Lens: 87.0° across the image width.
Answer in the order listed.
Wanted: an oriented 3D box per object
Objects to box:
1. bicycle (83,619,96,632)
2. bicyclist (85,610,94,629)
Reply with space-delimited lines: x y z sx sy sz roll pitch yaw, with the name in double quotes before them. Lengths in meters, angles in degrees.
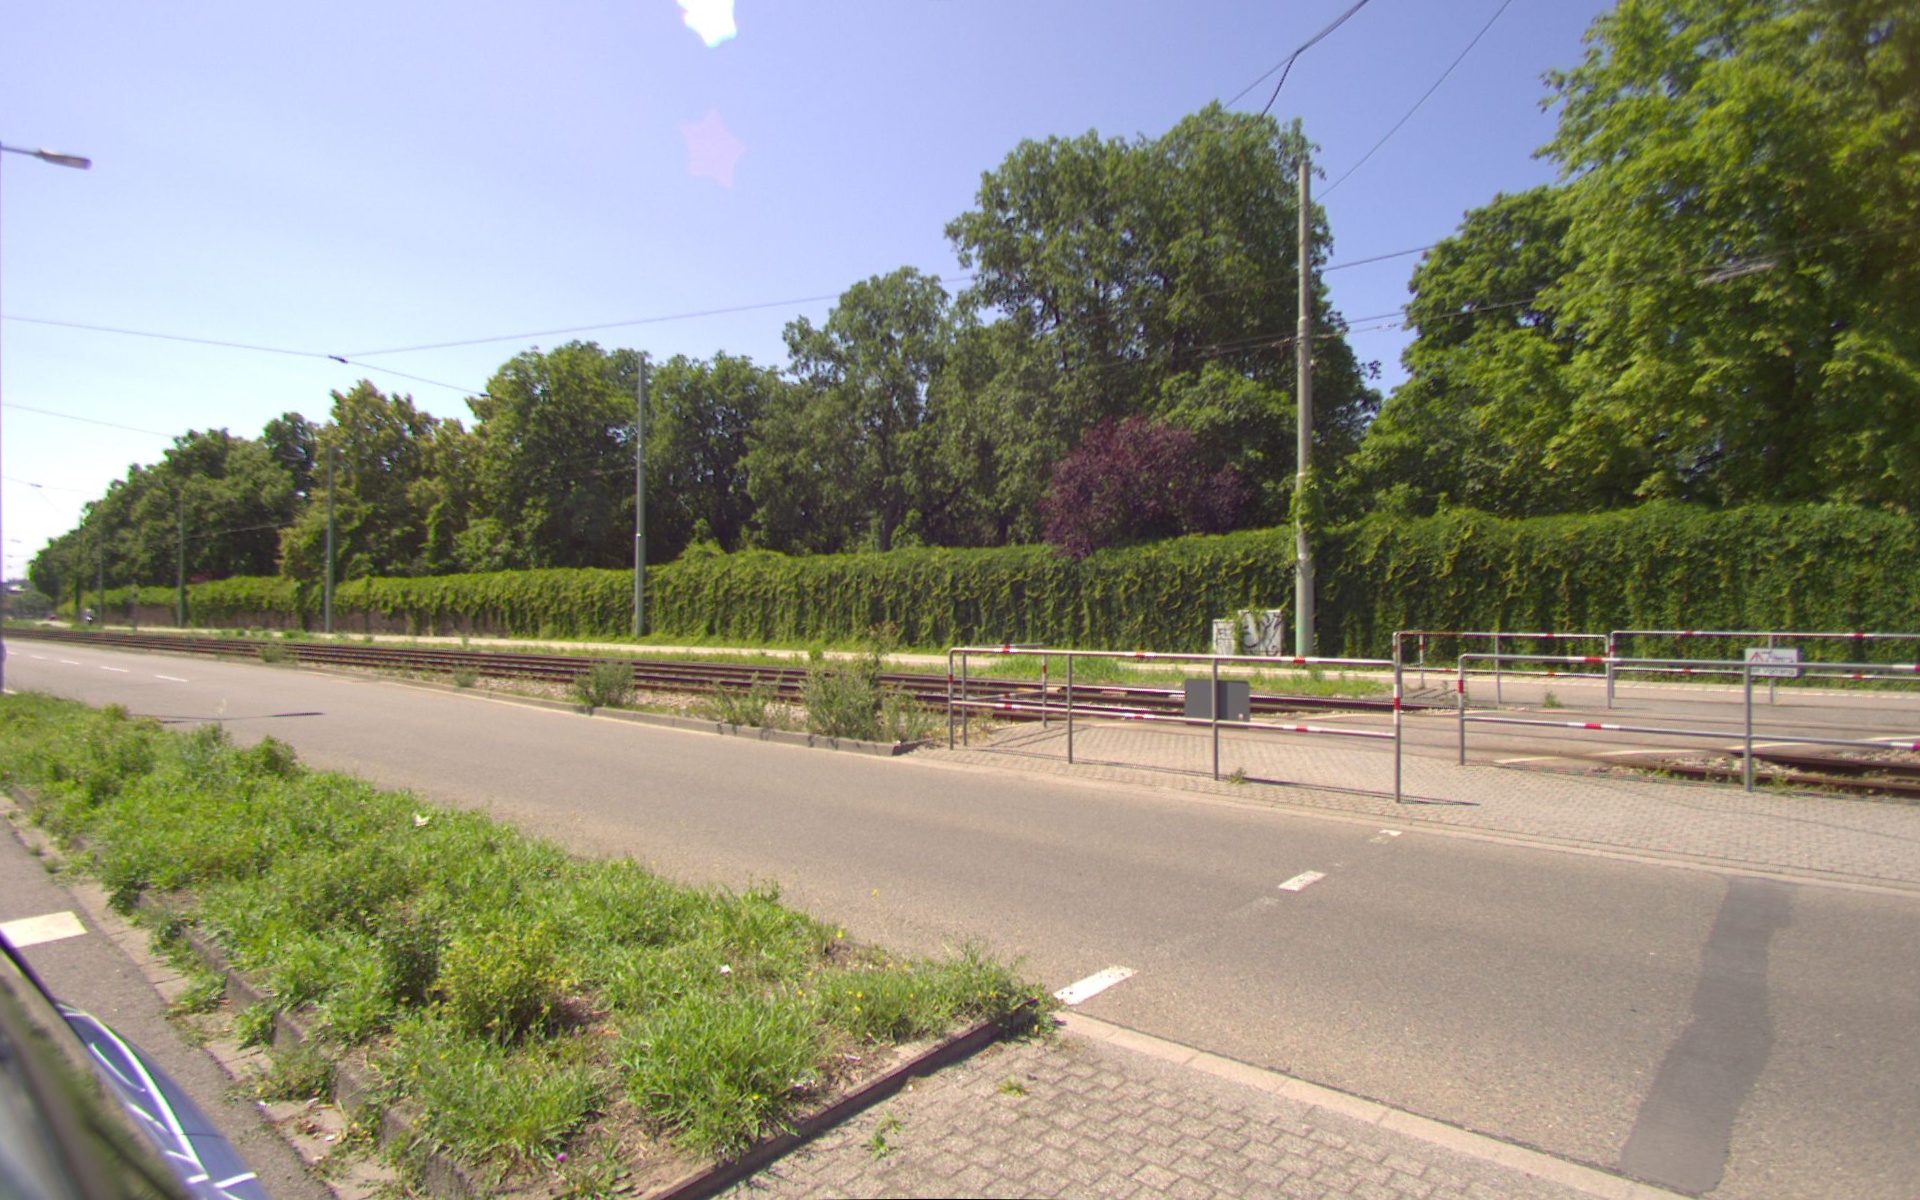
"bicycle" -75.971 2.209 88.332 1.977 1.063 0.609 0 1 42
"bicyclist" -75.925 1.688 88.266 0.769 1.624 0.477 -1 1 42
